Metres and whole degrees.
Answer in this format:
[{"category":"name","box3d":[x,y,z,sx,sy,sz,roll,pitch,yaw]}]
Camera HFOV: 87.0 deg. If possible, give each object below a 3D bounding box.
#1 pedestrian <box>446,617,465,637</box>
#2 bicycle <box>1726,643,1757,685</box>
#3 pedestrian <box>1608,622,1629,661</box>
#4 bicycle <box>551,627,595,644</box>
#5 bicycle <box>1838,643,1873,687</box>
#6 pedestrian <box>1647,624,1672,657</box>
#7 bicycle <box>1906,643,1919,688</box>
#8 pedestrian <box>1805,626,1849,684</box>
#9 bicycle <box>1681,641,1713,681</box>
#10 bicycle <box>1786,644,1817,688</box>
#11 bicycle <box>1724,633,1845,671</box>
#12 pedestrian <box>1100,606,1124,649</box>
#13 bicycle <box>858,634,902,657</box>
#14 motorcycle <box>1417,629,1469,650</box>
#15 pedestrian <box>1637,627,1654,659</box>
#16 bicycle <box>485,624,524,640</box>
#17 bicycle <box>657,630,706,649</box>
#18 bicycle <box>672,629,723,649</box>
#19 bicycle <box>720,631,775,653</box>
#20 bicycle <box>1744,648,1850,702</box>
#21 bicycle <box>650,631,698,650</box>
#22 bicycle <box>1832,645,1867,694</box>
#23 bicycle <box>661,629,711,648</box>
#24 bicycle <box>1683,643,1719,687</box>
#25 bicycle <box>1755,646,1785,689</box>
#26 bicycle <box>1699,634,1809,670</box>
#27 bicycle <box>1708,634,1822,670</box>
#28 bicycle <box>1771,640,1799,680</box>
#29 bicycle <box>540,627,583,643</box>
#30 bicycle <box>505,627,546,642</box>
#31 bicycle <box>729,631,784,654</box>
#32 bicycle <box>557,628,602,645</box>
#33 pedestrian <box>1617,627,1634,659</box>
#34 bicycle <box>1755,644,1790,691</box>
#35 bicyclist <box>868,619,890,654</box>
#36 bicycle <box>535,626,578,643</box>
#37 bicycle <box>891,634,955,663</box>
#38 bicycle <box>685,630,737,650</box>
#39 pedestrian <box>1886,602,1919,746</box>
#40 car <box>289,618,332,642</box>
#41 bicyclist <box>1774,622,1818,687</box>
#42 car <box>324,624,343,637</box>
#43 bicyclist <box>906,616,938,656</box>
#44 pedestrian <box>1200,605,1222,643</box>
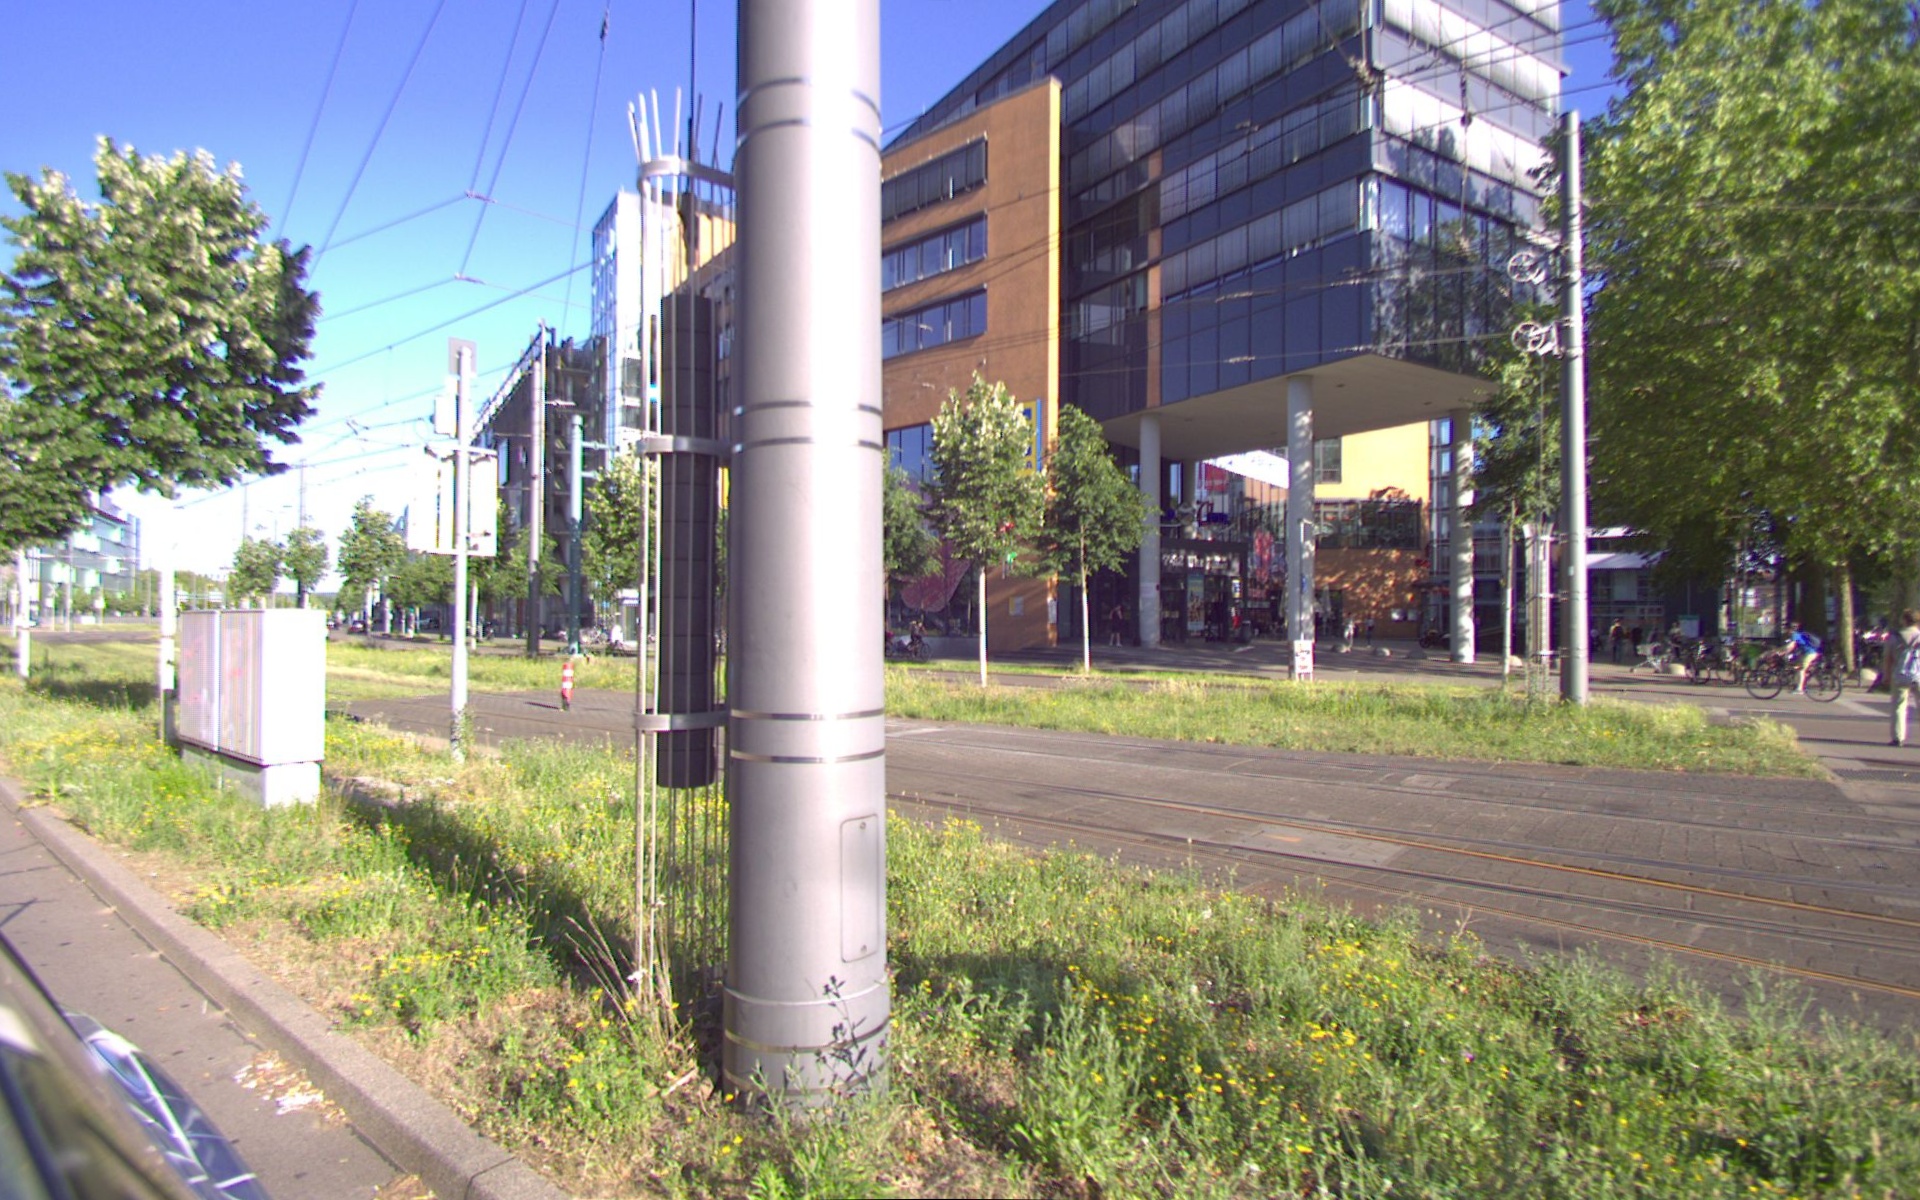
[{"category":"pedestrian","box3d":[-43.652,2.341,87.635,1.093,1.694,1.059,-1,-2,35]},{"category":"bicycle","box3d":[22.689,1.828,29.360,0.598,1.137,2.335,-2,-3,40]},{"category":"pedestrian","box3d":[28.927,1.813,44.439,0.698,1.665,0.697,-1,-1,39]},{"category":"bicycle","box3d":[-26.087,2.398,68.215,2.648,1.112,0.897,1,-2,-39]},{"category":"bicycle","box3d":[24.498,1.756,27.700,0.598,1.137,2.335,-2,-3,40]},{"category":"pedestrian","box3d":[35.025,2.034,50.691,0.721,1.635,0.701,1,-1,-18]},{"category":"bicycle","box3d":[25.420,1.706,26.615,0.598,1.137,2.335,-2,-3,40]},{"category":"pedestrian","box3d":[25.953,1.636,30.295,0.705,1.693,0.832,1,-3,-42]},{"category":"bicycle","box3d":[21.968,1.799,30.134,0.598,1.137,2.335,-2,-3,40]},{"category":"bicycle","box3d":[23.245,1.792,27.955,0.598,1.137,2.335,-2,-3,40]},{"category":"bicycle","box3d":[31.010,1.947,38.139,3.343,1.363,1.026,0,-2,26]},{"category":"pedestrian","box3d":[6.085,1.090,40.528,0.698,1.718,0.724,-1,-2,40]},{"category":"bicycle","box3d":[-3.509,1.982,44.493,2.065,0.957,0.682,-1,-2,41]},{"category":"motorcycle","box3d":[25.510,2.079,53.457,0.819,1.066,2.347,1,-2,-40]},{"category":"pedestrian","box3d":[36.904,2.301,54.496,0.698,1.727,0.724,-1,-2,38]},{"category":"bicycle","box3d":[-35.811,2.522,79.619,2.648,1.198,0.897,1,-3,-39]},{"category":"bicycle","box3d":[-16.427,2.319,59.673,2.648,1.112,0.897,1,-2,-39]},{"category":"bicycle","box3d":[-14.797,2.211,57.170,2.648,1.112,0.897,1,-2,-39]},{"category":"bicycle","box3d":[-11.009,2.180,52.491,2.648,1.112,0.897,1,-2,-39]},{"category":"bicycle","box3d":[19.332,1.716,23.407,1.850,1.145,0.684,-1,-2,41]},{"category":"bicycle","box3d":[-17.098,2.389,60.538,2.648,1.112,0.897,1,-2,-39]},{"category":"bicycle","box3d":[22.216,1.711,25.301,0.598,1.137,2.334,-2,-3,41]},{"category":"bicycle","box3d":[-15.827,2.218,58.489,2.648,1.112,0.897,1,-2,-39]},{"category":"bicycle","box3d":[20.209,1.749,27.587,0.598,1.137,2.334,-2,-3,41]},{"category":"bicycle","box3d":[22.784,1.866,28.441,0.598,1.137,2.335,-2,-3,40]},{"category":"bicycle","box3d":[32.388,2.104,41.374,3.343,1.363,1.026,0,-2,26]},{"category":"bicycle","box3d":[31.745,2.037,40.012,3.343,1.363,1.026,0,-2,26]},{"category":"bicycle","box3d":[24.540,1.756,30.088,0.598,1.137,2.335,-2,-3,40]},{"category":"bicycle","box3d":[-27.726,2.410,70.415,2.648,1.112,0.827,1,-3,-39]},{"category":"bicycle","box3d":[-32.267,2.541,75.188,2.648,1.112,0.897,1,-2,-39]},{"category":"bicycle","box3d":[-10.357,2.149,51.670,2.648,1.112,0.897,1,-2,-39]},{"category":"bicycle","box3d":[-25.010,2.391,66.587,2.648,1.112,0.897,1,-2,-39]},{"category":"pedestrian","box3d":[36.162,2.309,55.002,0.698,1.727,0.724,-1,-2,38]},{"category":"bicycle","box3d":[21.038,1.722,26.201,0.598,1.137,2.334,-2,-3,41]},{"category":"bicyclist","box3d":[-3.561,1.587,44.545,0.702,1.541,0.682,-1,-2,40]},{"category":"bicycle","box3d":[-28.340,2.419,71.100,2.648,1.112,0.897,1,-2,-39]},{"category":"bicycle","box3d":[-1.499,1.911,40.227,2.691,1.112,0.883,-2,-3,42]},{"category":"bicycle","box3d":[-13.829,2.203,56.242,2.648,1.112,0.897,1,-2,-39]},{"category":"pedestrian","box3d":[12.923,0.979,13.556,0.698,1.884,0.724,-1,-2,40]},{"category":"car","box3d":[-42.244,1.915,65.779,1.602,1.539,4.809,1,-2,-41]},{"category":"bicyclist","box3d":[19.341,1.241,23.413,0.754,1.472,0.684,-1,-2,41]},{"category":"car","box3d":[-76.772,3.704,124.071,1.599,1.539,4.369,2,-2,-27]},{"category":"bicyclist","box3d":[-1.508,1.432,40.258,0.939,1.560,0.883,-2,-3,42]},{"category":"pedestrian","box3d":[11.405,1.105,45.971,0.698,1.718,0.724,-1,-2,40]}]
